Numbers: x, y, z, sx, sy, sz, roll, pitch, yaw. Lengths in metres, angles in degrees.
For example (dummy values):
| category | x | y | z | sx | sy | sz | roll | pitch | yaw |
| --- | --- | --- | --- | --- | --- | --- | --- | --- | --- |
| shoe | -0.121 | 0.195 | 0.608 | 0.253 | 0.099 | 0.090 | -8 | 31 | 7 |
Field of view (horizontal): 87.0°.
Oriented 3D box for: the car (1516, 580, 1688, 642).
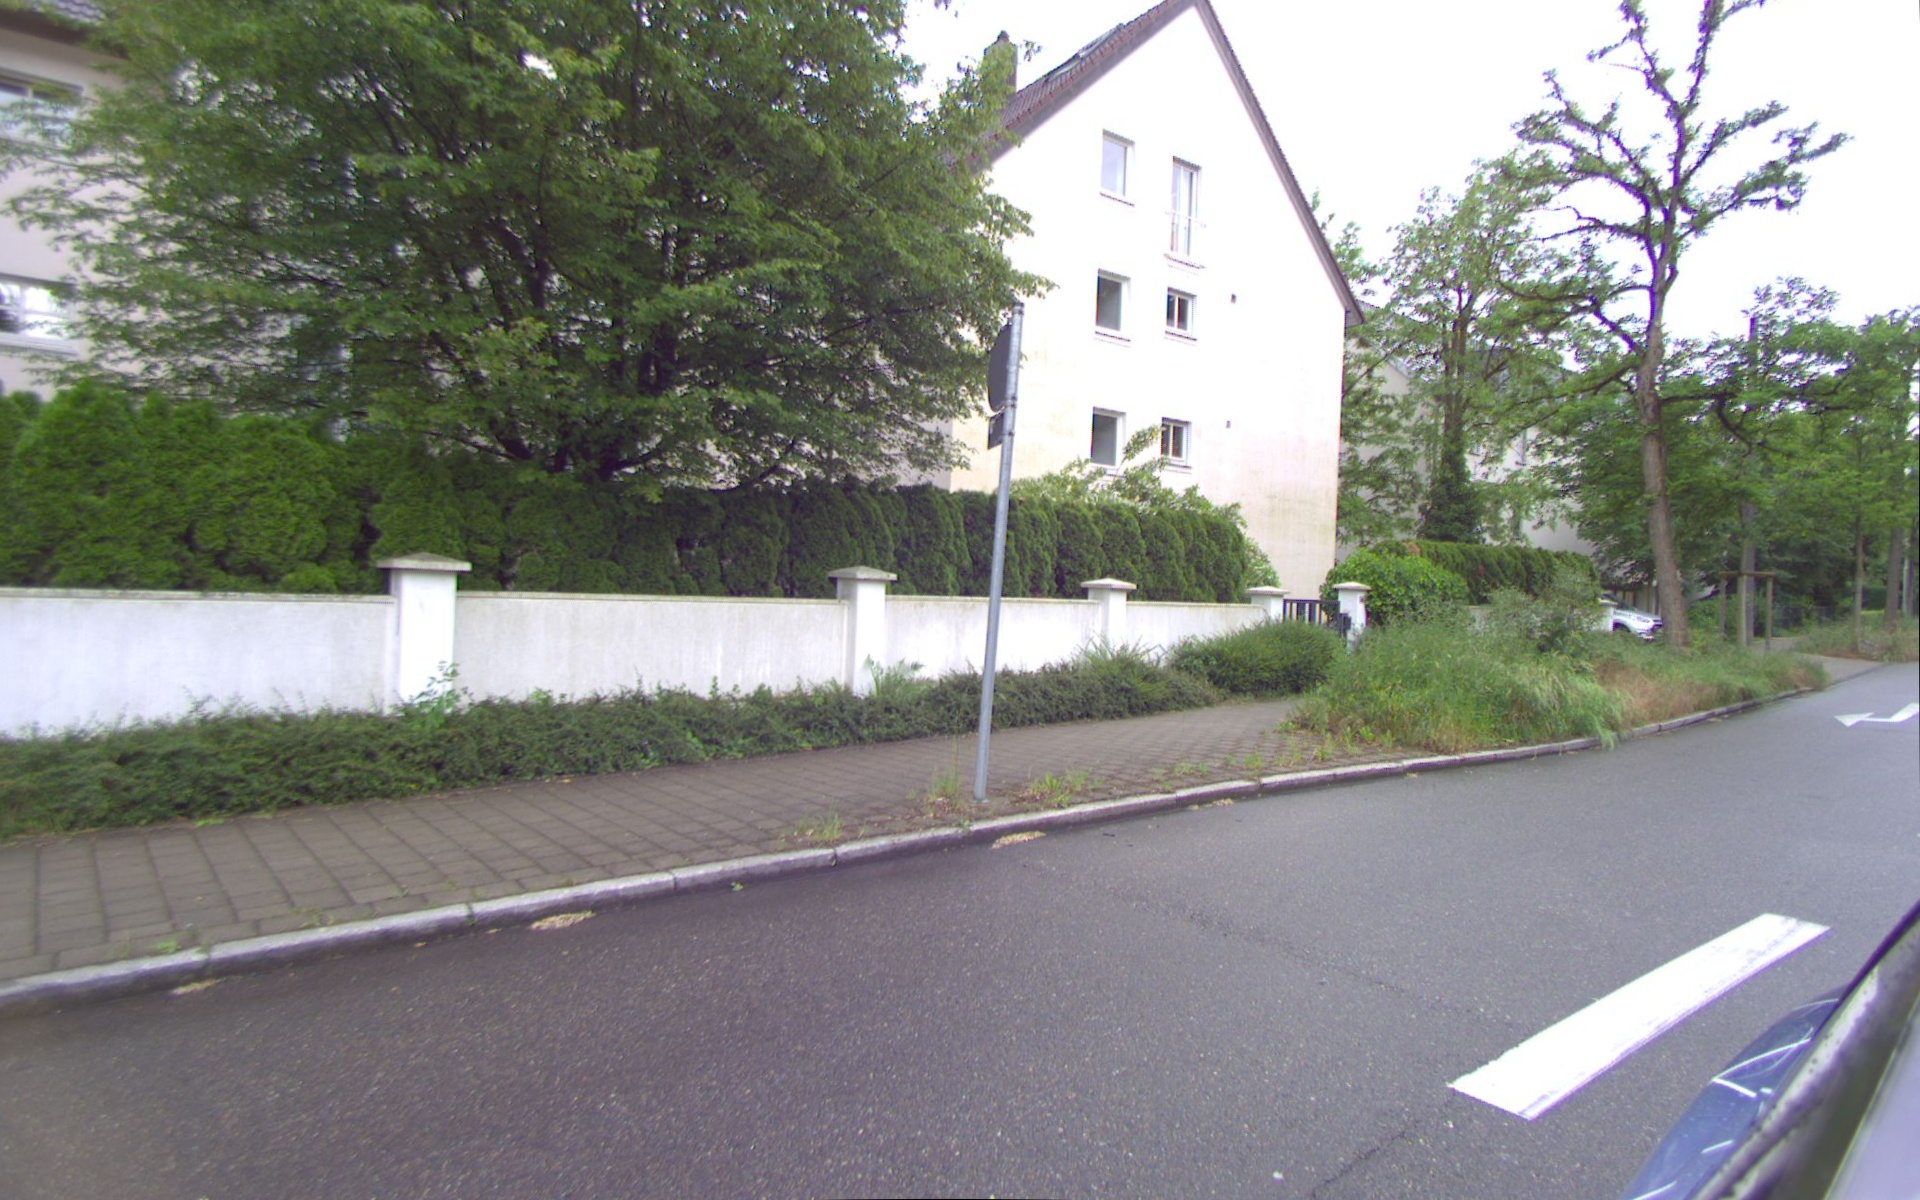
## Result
| category | x | y | z | sx | sy | sz | roll | pitch | yaw |
| --- | --- | --- | --- | --- | --- | --- | --- | --- | --- |
| car | 20.620 | 0.292 | 32.685 | 1.837 | 1.840 | 4.322 | 1 | 1 | -31 |
